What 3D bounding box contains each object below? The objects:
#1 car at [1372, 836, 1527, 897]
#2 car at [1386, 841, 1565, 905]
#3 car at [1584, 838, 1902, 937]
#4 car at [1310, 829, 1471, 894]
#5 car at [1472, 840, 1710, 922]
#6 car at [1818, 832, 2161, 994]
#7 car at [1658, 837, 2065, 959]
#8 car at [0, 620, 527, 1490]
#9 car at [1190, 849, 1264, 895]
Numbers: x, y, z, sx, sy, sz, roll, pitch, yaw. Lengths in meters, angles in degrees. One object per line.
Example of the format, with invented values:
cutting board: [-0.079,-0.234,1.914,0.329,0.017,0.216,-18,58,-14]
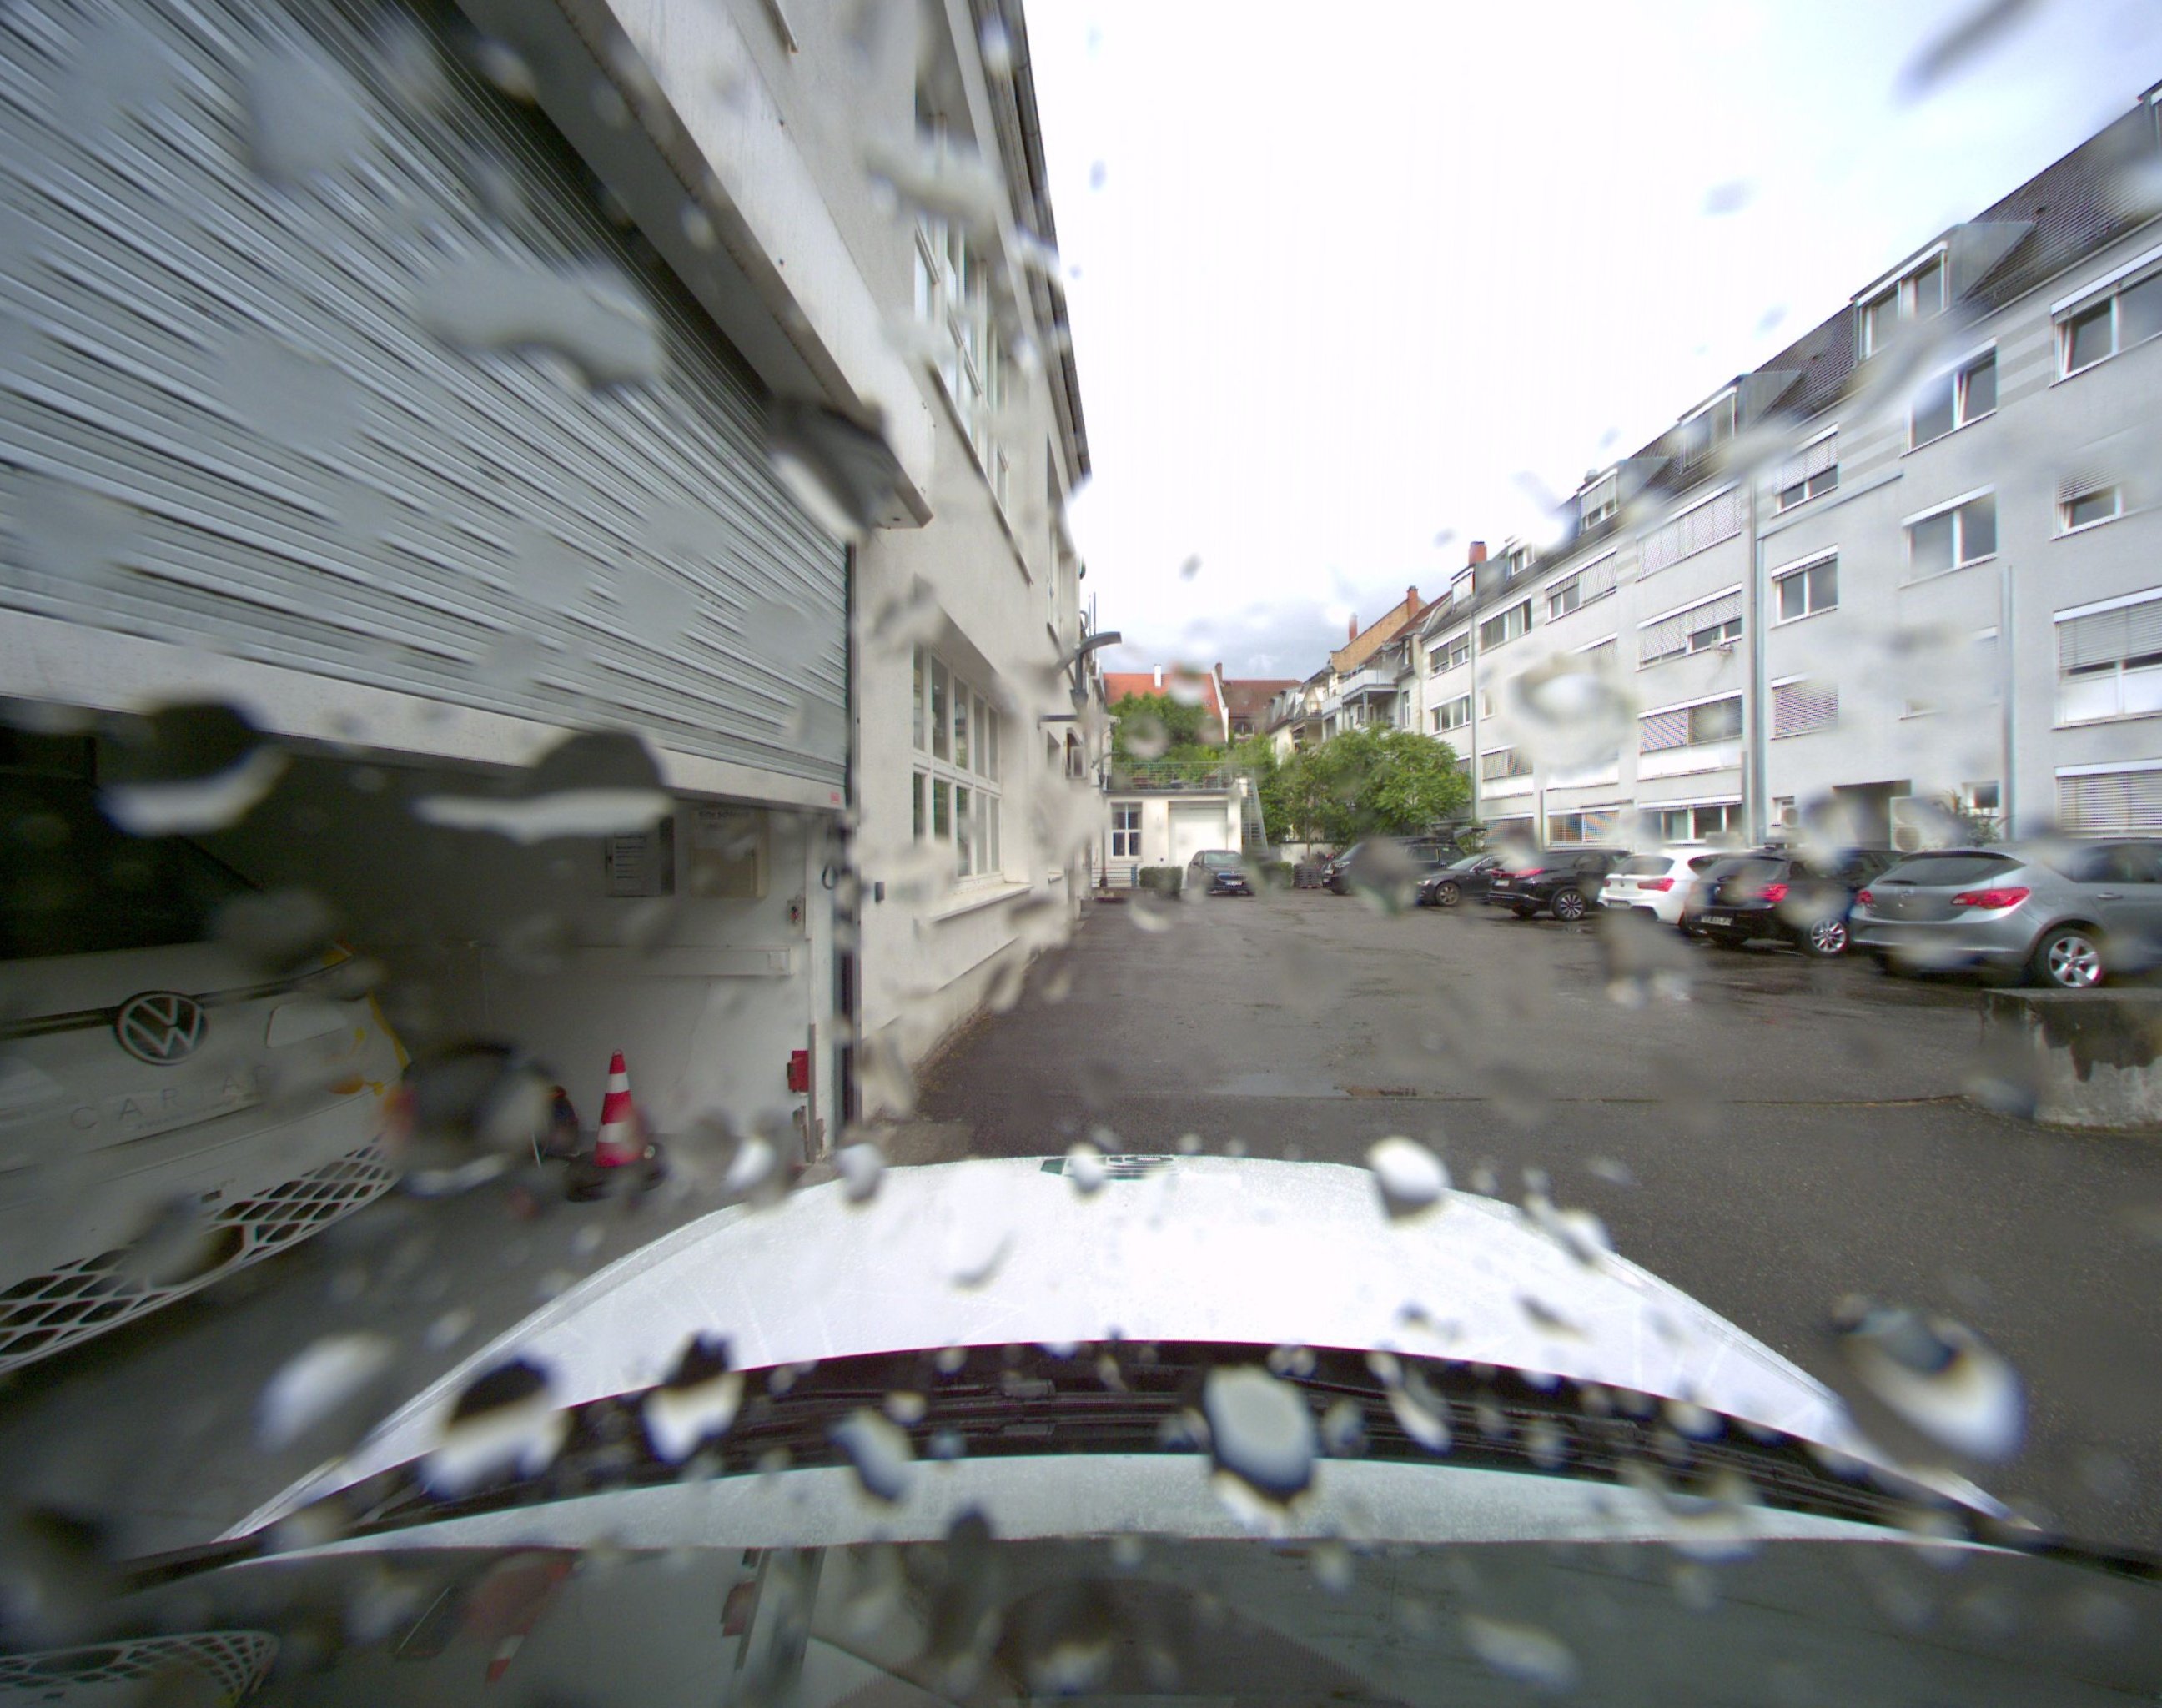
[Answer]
car: [11.201,0.365,24.950,3.893,1.687,1.818,-2,-1,2]
car: [10.434,0.487,21.734,3.897,1.513,1.751,-2,0,-1]
car: [11.044,0.524,13.781,3.976,1.458,1.772,-1,0,-2]
car: [10.522,0.221,27.874,4.630,2.003,2.220,-2,1,-7]
car: [10.652,0.533,17.190,3.900,1.513,1.818,-2,0,-3]
car: [10.632,0.536,8.628,3.973,1.445,1.807,-2,0,1]
car: [10.626,0.553,11.303,3.975,1.403,1.772,-2,0,-1]
car: [-4.787,0.440,2.570,4.669,2.013,2.087,1,0,3]
car: [4.929,0.568,27.923,1.971,1.444,4.002,0,0,2]
